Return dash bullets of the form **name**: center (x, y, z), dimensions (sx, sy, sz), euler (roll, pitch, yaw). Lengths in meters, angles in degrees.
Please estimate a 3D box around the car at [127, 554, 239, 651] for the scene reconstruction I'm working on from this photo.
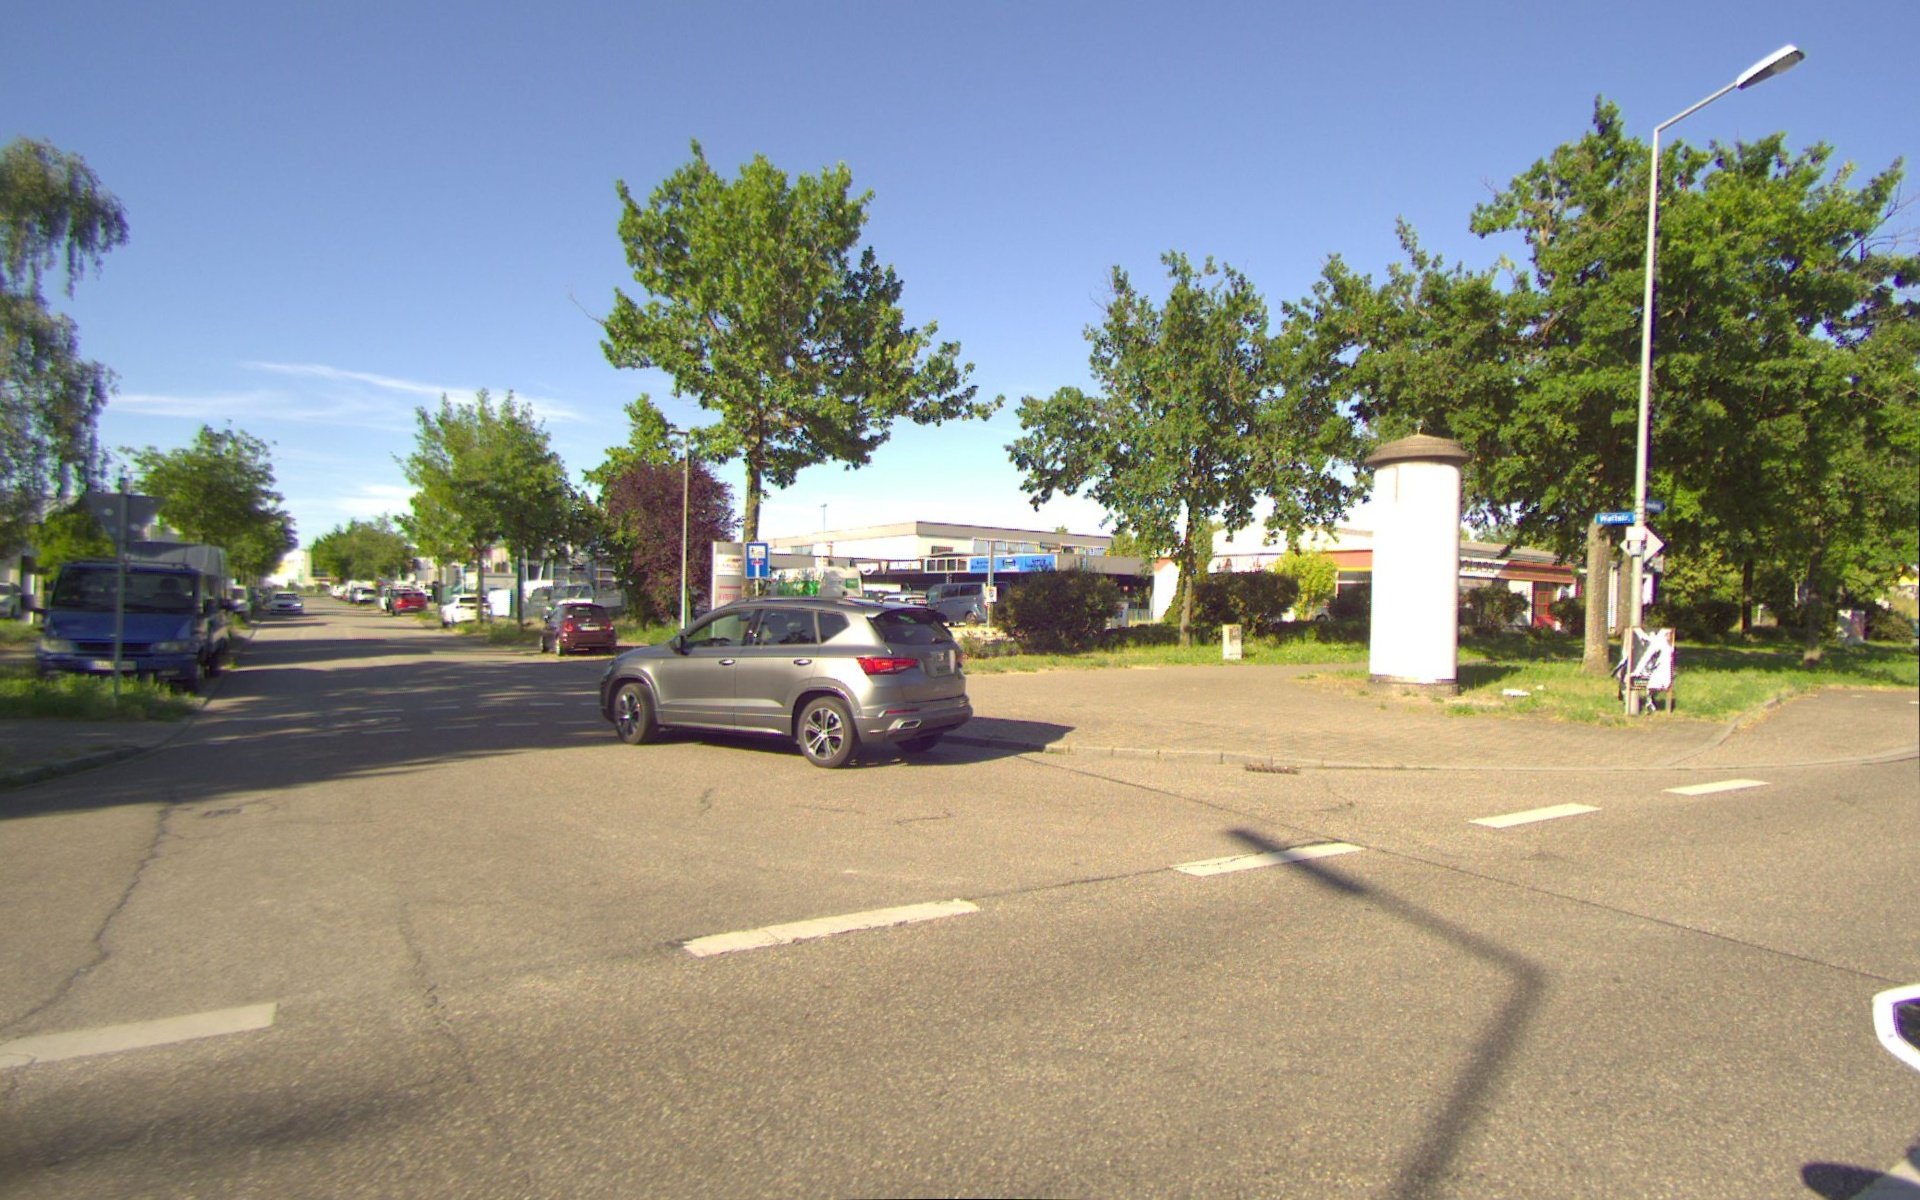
- **car**: center (-22.772, -0.009, 29.672), dimensions (2.278, 2.549, 6.295), euler (2, 1, -35)

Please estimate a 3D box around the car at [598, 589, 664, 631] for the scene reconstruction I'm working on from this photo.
- **car**: center (-15.834, 0.456, 48.242), dimensions (1.867, 1.910, 4.210), euler (1, 0, -35)

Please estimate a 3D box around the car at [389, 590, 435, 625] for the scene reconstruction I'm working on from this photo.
- **car**: center (-37.118, 0.497, 67.997), dimensions (2.183, 2.132, 4.895), euler (2, 1, -35)

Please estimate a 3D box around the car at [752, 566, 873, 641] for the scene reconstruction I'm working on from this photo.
- **car**: center (-6.090, 0.083, 40.729), dimensions (2.278, 2.739, 6.117), euler (2, 1, -35)

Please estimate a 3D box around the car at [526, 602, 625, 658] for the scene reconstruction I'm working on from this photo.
- **car**: center (-11.558, 0.838, 30.062), dimensions (1.807, 1.501, 4.162), euler (0, 0, -35)

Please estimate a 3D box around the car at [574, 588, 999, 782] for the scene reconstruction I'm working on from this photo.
- **car**: center (-1.885, 0.763, 10.642), dimensions (4.221, 1.616, 1.757), euler (2, -1, 29)

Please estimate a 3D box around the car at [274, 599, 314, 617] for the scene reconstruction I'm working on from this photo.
- **car**: center (-43.432, 0.520, 65.587), dimensions (1.598, 1.120, 3.755), euler (1, 0, -25)

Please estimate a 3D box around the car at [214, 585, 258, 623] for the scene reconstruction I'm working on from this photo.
- **car**: center (-32.379, 0.158, 44.885), dimensions (1.497, 1.594, 3.109), euler (1, 0, -38)

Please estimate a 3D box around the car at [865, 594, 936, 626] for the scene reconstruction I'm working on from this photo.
- **car**: center (-2.672, 0.425, 44.301), dimensions (1.559, 1.319, 3.499), euler (1, 1, -34)

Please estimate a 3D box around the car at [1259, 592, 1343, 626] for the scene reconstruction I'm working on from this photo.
- **car**: center (16.526, 0.407, 48.820), dimensions (1.578, 1.518, 3.570), euler (2, 0, -37)

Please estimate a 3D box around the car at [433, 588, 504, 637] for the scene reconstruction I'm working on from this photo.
- **car**: center (-24.102, 0.570, 49.165), dimensions (2.279, 2.132, 5.307), euler (2, 1, -35)

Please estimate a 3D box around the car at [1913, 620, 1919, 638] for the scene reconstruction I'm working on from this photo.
- **car**: center (75.738, 2.312, 76.905), dimensions (1.669, 1.404, 3.814), euler (2, 1, -40)

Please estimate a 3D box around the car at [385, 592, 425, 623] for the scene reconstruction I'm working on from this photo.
- **car**: center (-43.277, 0.549, 78.230), dimensions (2.183, 2.132, 4.895), euler (2, 1, -35)

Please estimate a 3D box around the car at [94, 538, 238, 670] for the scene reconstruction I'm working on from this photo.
- **car**: center (-18.697, 0.013, 23.926), dimensions (2.278, 2.739, 5.822), euler (2, 1, -35)

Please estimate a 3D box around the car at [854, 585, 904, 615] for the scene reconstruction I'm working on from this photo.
- **car**: center (-5.743, 0.011, 70.998), dimensions (1.865, 2.040, 3.963), euler (1, 0, -33)

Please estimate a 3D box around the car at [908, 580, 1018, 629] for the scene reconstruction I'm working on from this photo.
- **car**: center (0.069, 0.179, 45.377), dimensions (2.278, 2.097, 5.372), euler (1, 0, -35)

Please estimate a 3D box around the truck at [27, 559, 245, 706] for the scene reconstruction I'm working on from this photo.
- **truck**: center (-14.148, 0.373, 17.714), dimensions (2.118, 2.077, 7.068), euler (2, 1, -33)
